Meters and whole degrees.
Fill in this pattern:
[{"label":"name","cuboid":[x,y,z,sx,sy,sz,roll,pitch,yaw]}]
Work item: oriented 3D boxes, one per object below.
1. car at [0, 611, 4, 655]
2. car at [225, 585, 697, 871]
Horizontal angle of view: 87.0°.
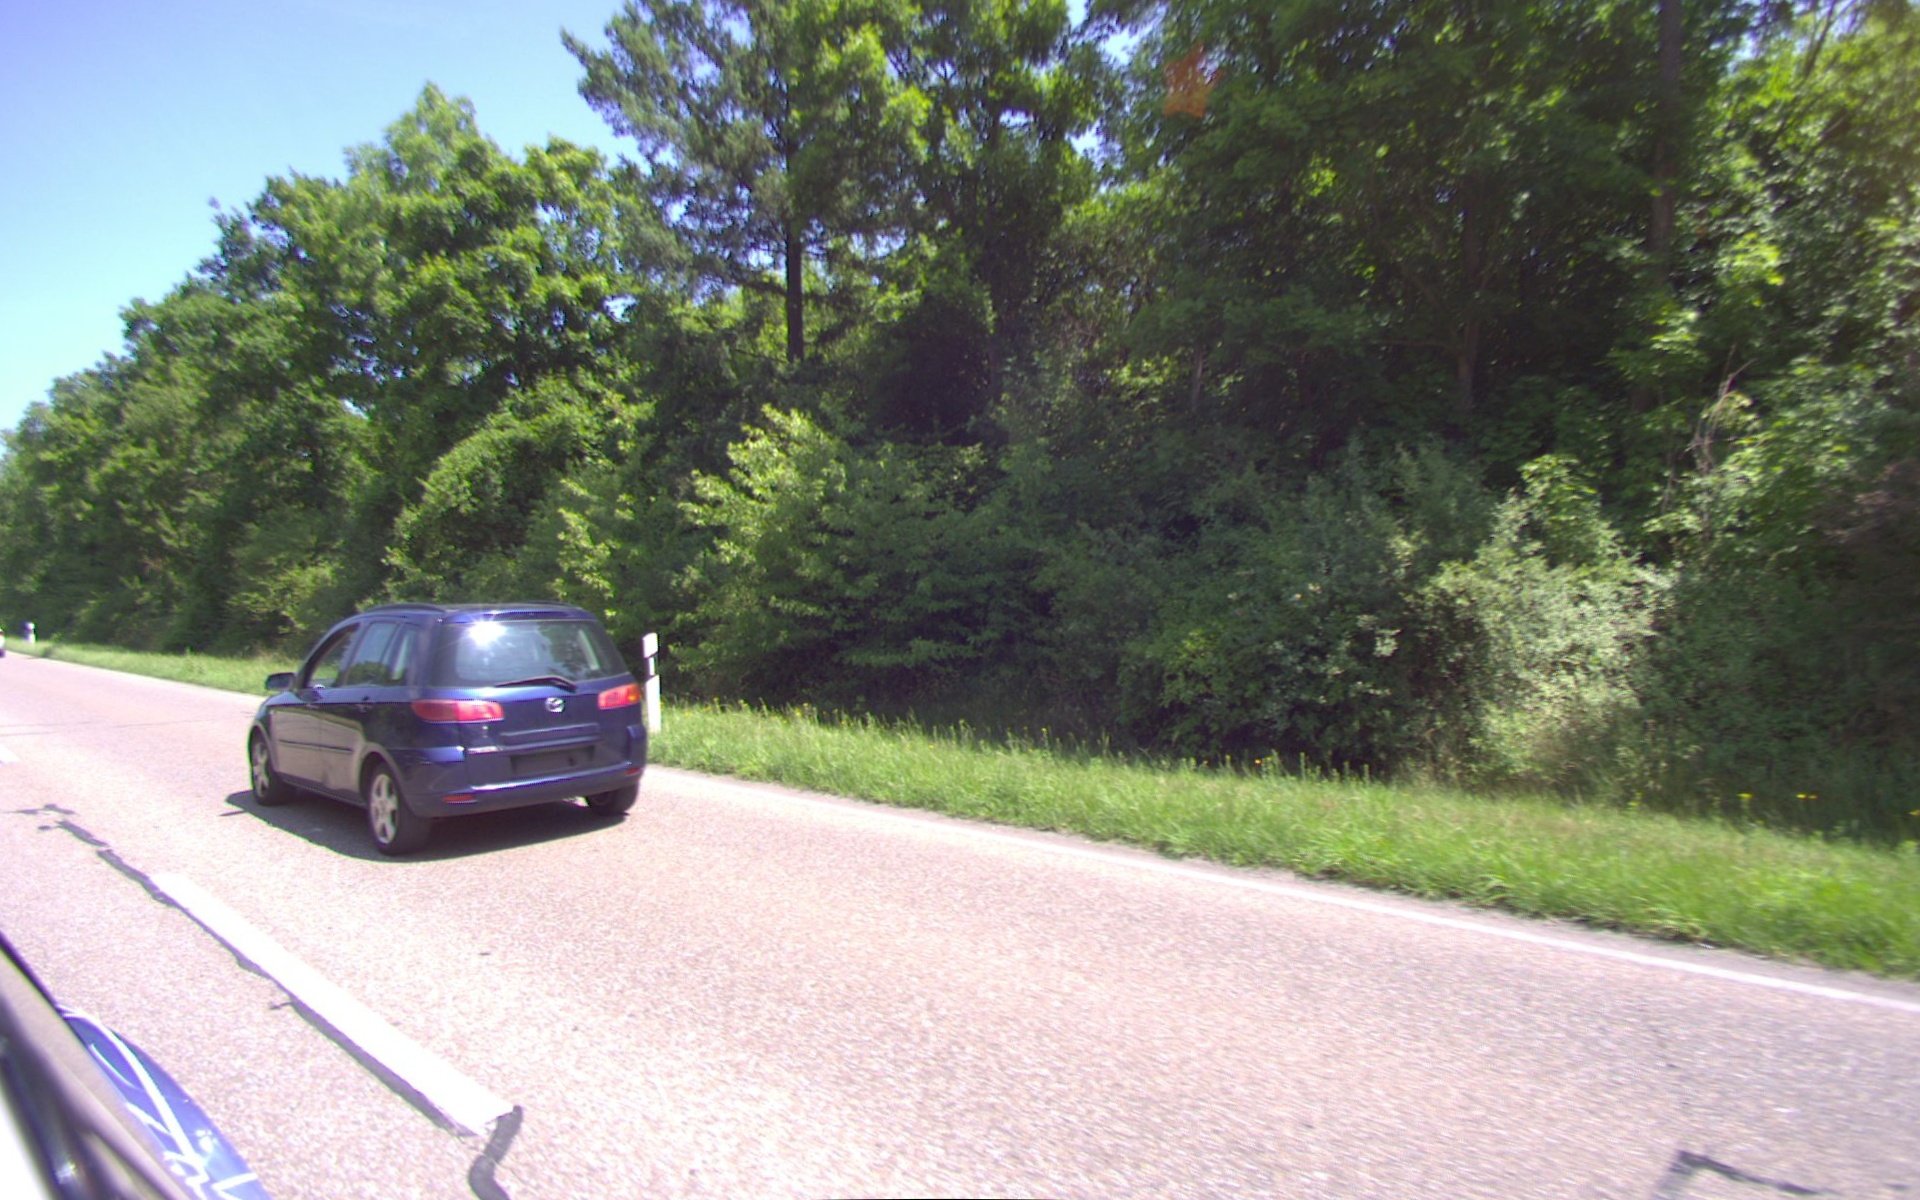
[{"label":"car","cuboid":[-35.477,1.180,35.886,4.655,1.548,1.820,-1,-1,41]},{"label":"car","cuboid":[-3.791,0.698,7.367,3.997,1.530,1.655,-1,0,41]}]
